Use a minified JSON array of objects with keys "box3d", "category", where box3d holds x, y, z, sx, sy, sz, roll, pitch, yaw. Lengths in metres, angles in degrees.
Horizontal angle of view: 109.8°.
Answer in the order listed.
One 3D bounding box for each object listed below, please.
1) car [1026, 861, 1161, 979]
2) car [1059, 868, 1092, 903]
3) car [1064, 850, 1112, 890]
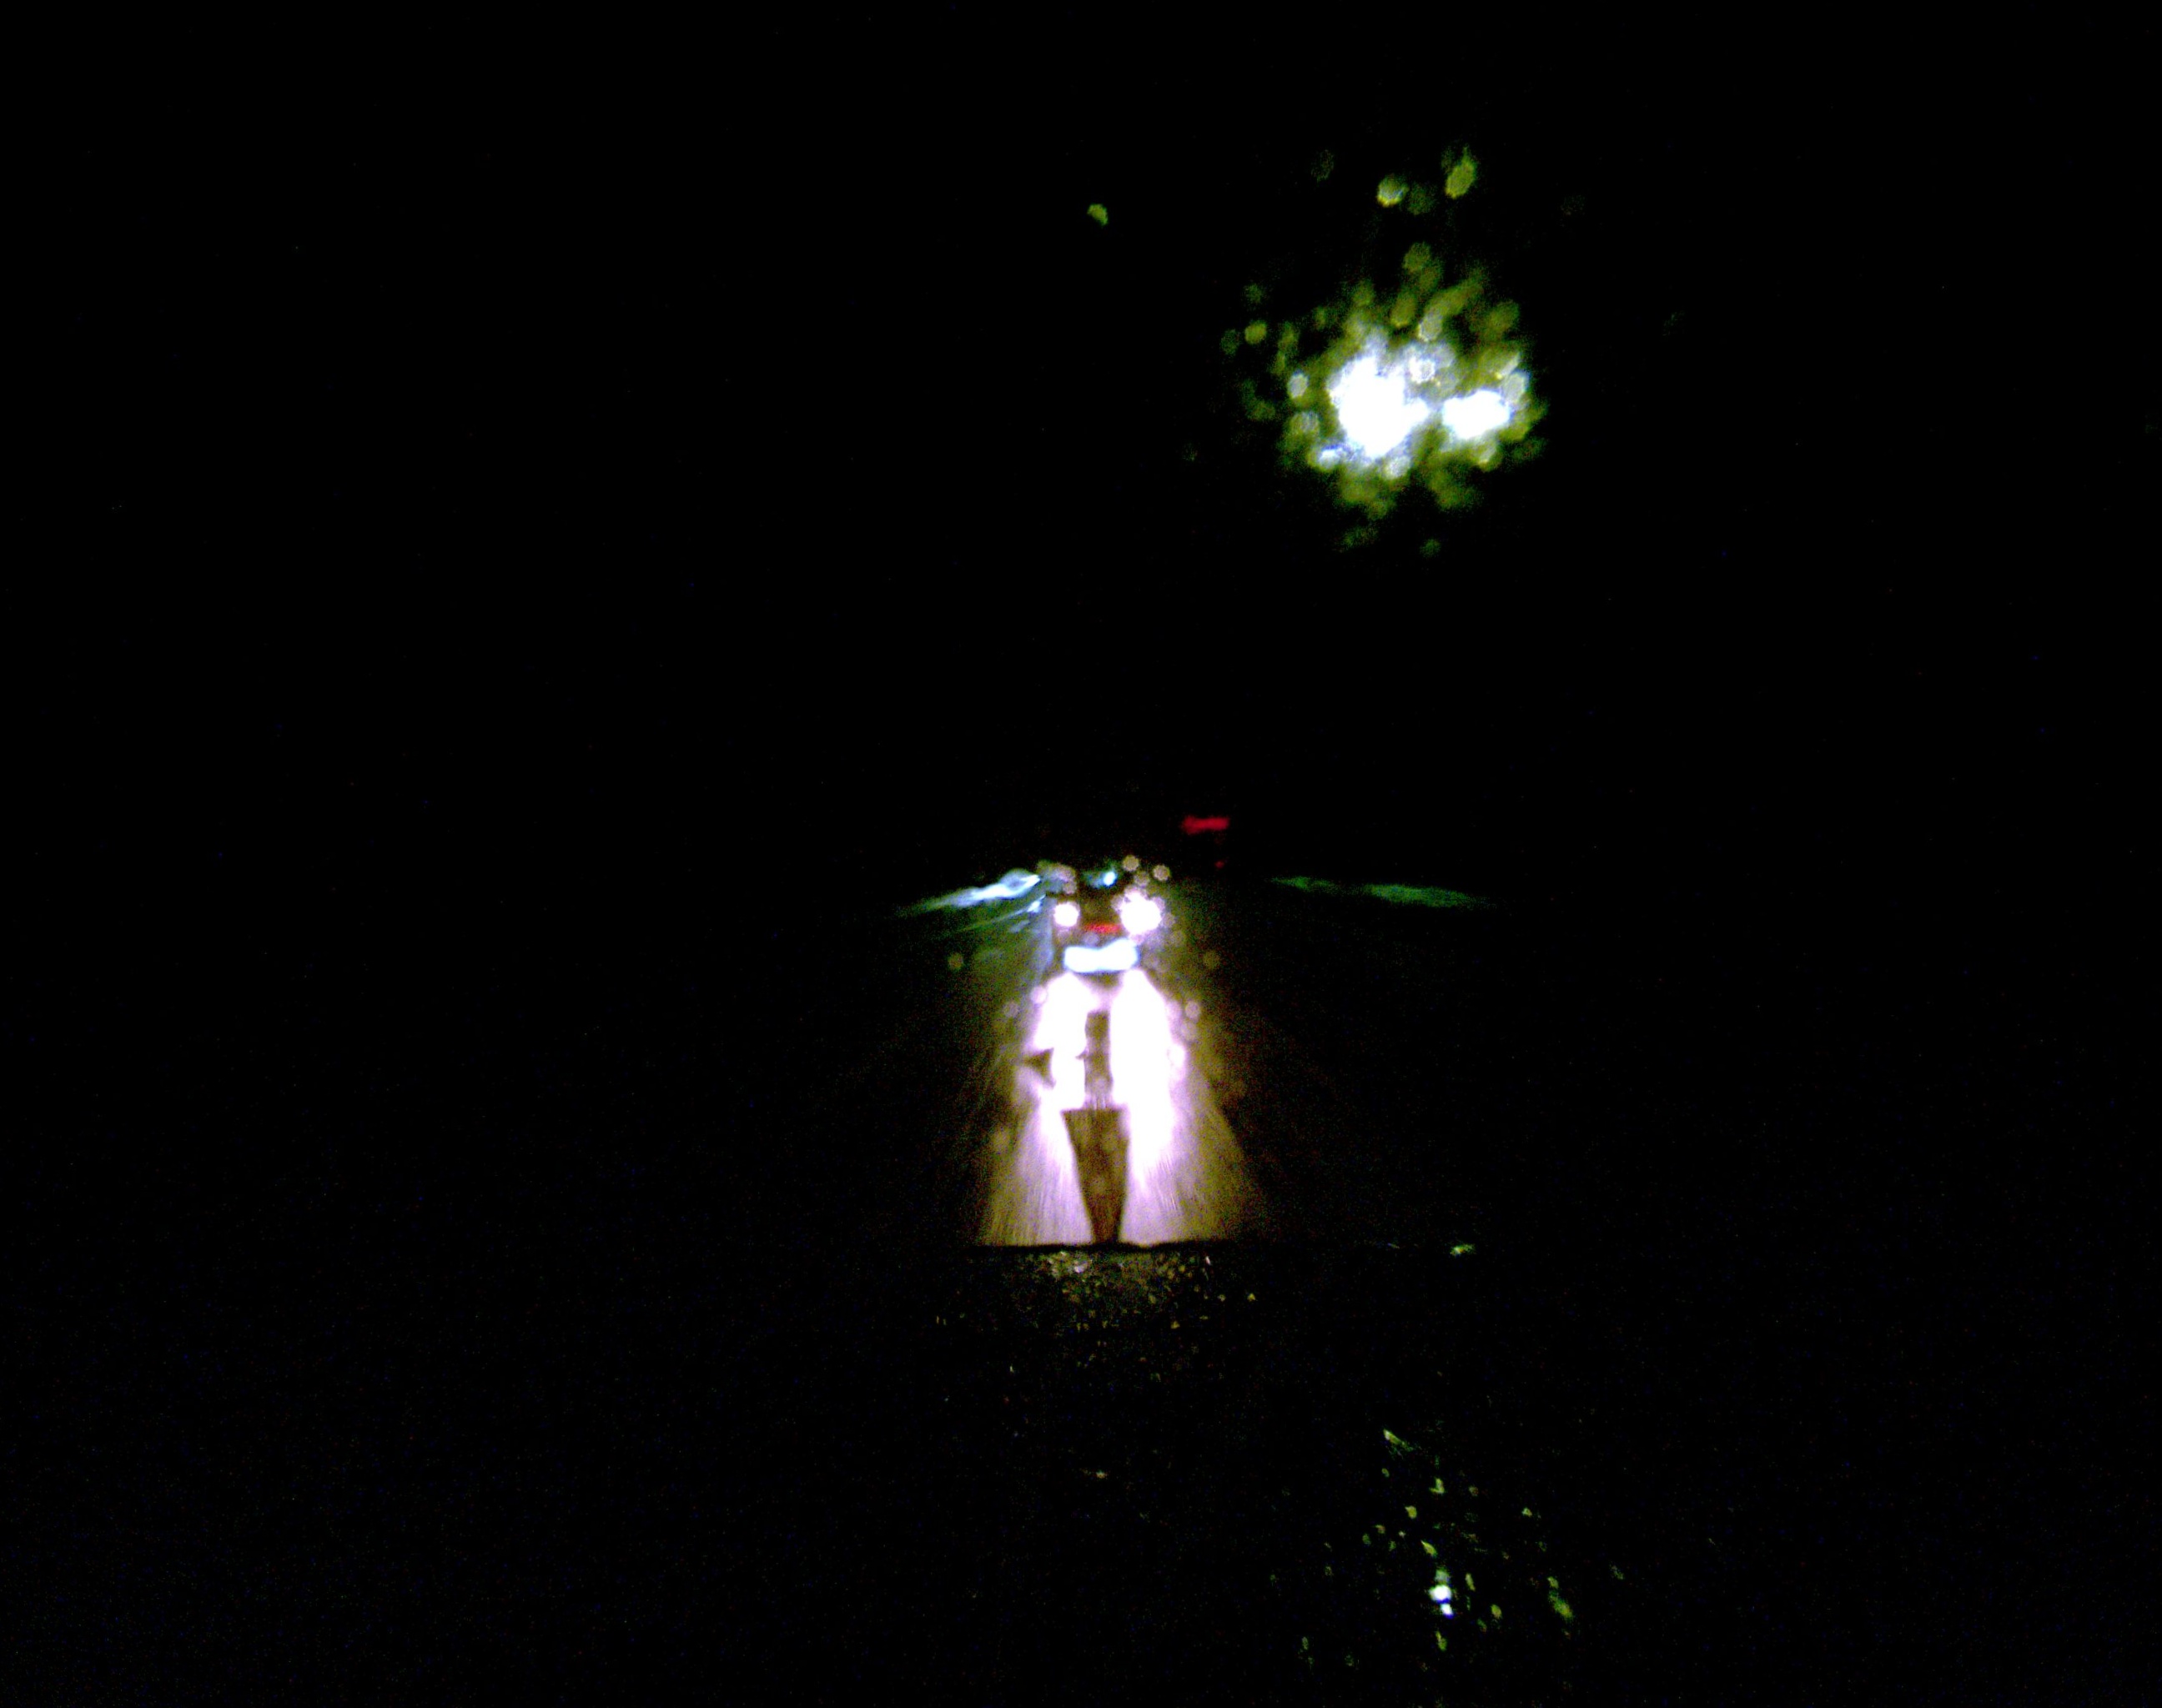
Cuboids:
[{"box3d":[0.331,0.968,12.833,1.848,1.441,4.000,-3,1,4],"category":"car"},{"box3d":[-0.299,1.839,45.218,1.784,1.696,3.999,-3,1,0],"category":"car"},{"box3d":[0.329,0.626,31.998,1.849,1.441,3.874,-3,1,1],"category":"car"}]
